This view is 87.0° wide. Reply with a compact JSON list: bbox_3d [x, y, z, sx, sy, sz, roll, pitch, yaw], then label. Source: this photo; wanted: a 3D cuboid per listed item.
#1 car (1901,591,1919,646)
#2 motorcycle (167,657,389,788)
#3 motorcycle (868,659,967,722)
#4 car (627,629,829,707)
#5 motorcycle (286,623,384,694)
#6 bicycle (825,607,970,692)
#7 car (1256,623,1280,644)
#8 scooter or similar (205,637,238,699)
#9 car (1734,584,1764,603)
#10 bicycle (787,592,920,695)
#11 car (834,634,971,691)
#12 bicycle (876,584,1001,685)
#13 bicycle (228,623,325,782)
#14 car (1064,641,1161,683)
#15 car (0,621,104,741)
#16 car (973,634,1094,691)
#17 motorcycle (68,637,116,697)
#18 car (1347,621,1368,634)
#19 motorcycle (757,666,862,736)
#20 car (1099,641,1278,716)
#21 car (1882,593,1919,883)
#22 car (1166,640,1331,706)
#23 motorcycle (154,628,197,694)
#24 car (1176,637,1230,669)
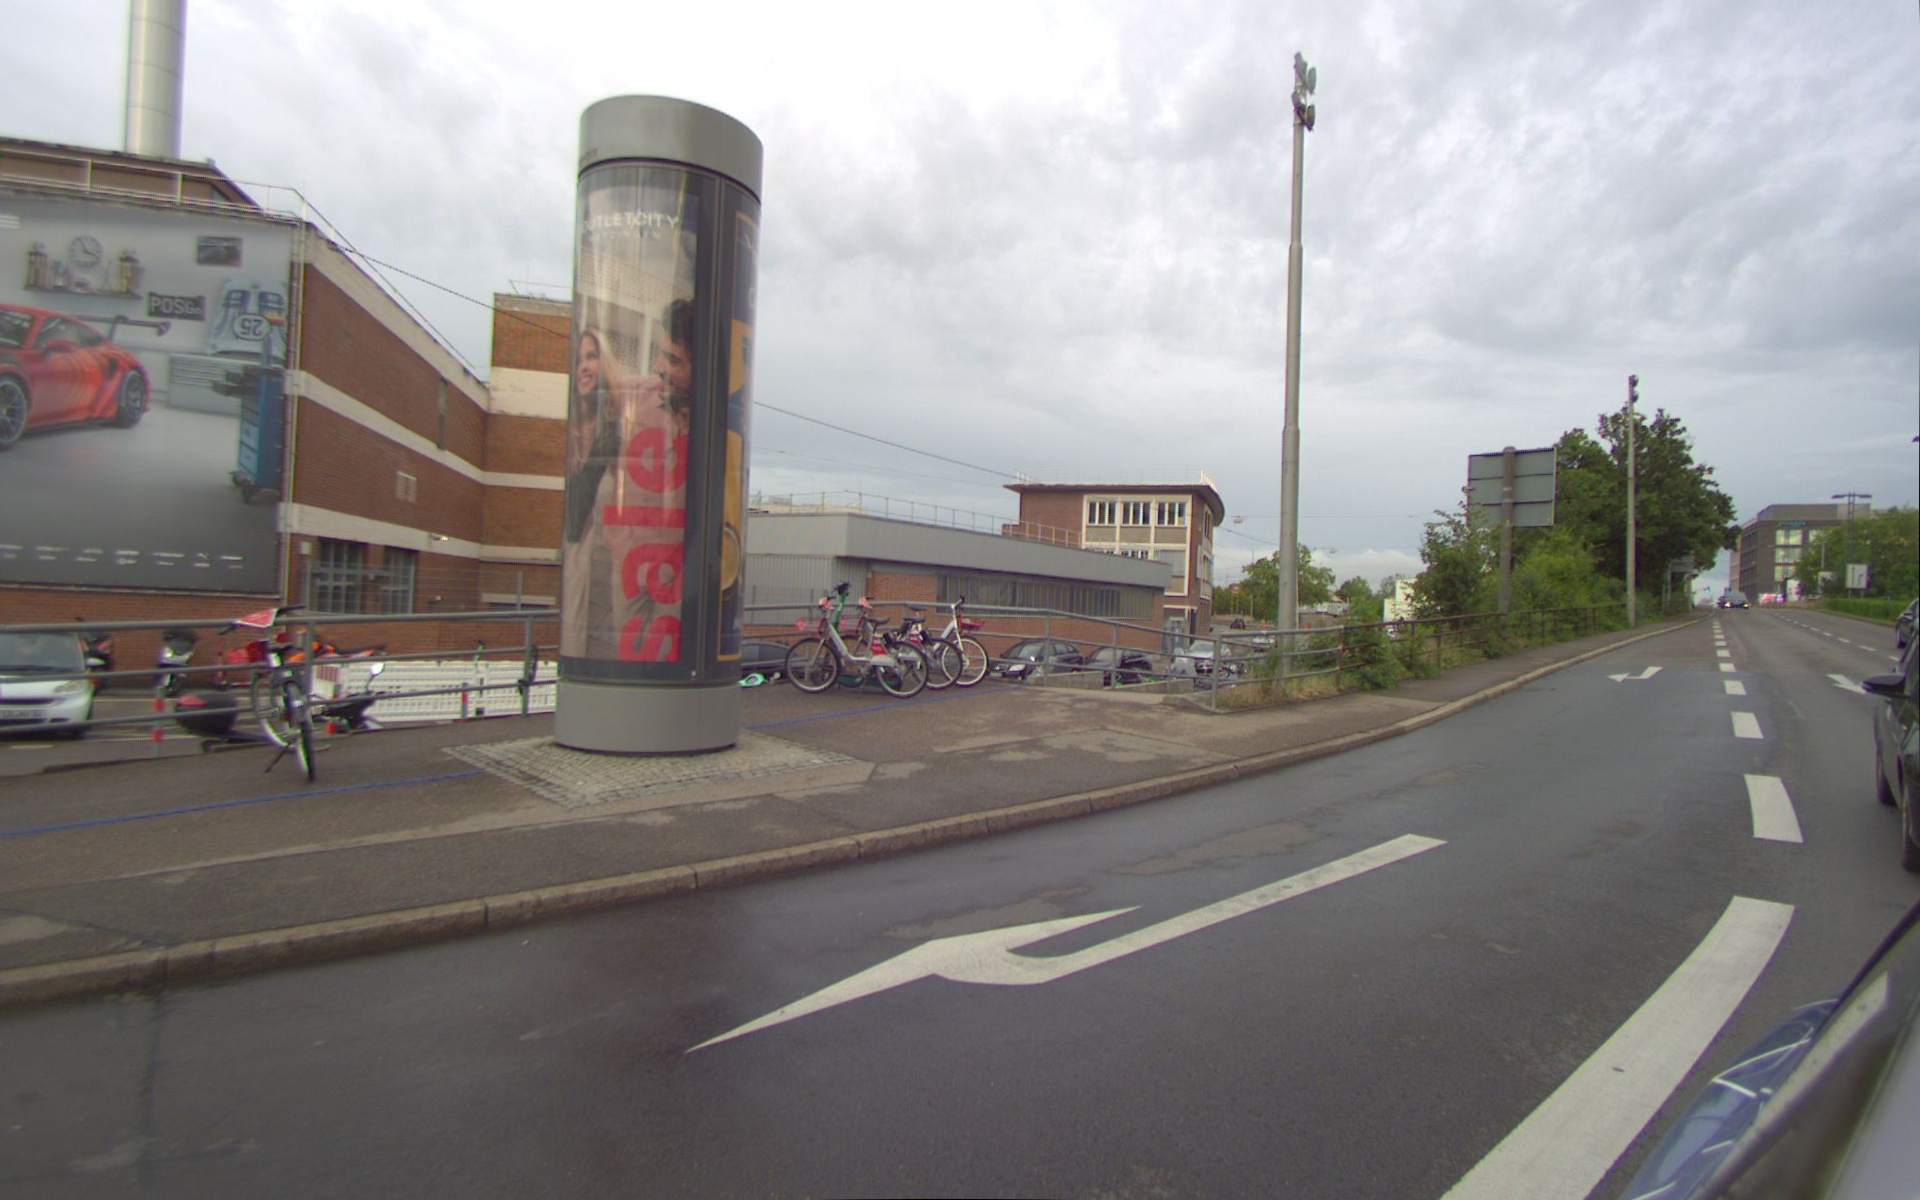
[{"bbox_3d":[26.791,0.488,27.122,1.807,1.457,4.246,0,0,36],"label":"car"},{"bbox_3d":[-5.725,0.993,8.581,0.400,0.901,1.521,1,1,36],"label":"motorcycle"},{"bbox_3d":[-0.699,1.461,16.496,1.599,0.933,0.418,0,0,25],"label":"motorcycle"},{"bbox_3d":[-5.358,1.506,23.860,1.880,1.570,4.445,1,-1,38],"label":"car"},{"bbox_3d":[-12.849,1.174,20.847,0.521,1.350,1.646,-1,0,38],"label":"motorcycle"},{"bbox_3d":[-0.733,0.577,12.117,1.673,0.933,0.486,1,1,4],"label":"bicycle"},{"bbox_3d":[23.340,2.519,76.614,1.698,1.444,3.976,1,0,18],"label":"car"},{"bbox_3d":[-14.635,1.323,20.076,0.495,1.110,1.639,-1,0,-35],"label":"scooter or similar"},{"bbox_3d":[65.518,-0.538,84.103,1.738,1.493,4.018,0,0,35],"label":"car"},{"bbox_3d":[-1.218,0.483,11.647,1.438,1.087,0.442,2,2,9],"label":"bicycle"},{"bbox_3d":[-1.586,1.733,29.002,1.712,1.444,3.943,1,-1,39],"label":"car"},{"bbox_3d":[-0.278,0.417,12.837,1.527,1.169,0.448,3,3,22],"label":"bicycle"},{"bbox_3d":[-4.829,0.664,7.116,0.414,0.933,1.615,1,0,-39],"label":"bicycle"},{"bbox_3d":[5.934,2.345,39.002,1.713,1.422,4.211,1,-1,41],"label":"car"},{"bbox_3d":[-13.943,1.115,15.174,1.541,1.508,3.992,2,-1,-42],"label":"car"},{"bbox_3d":[2.549,2.048,34.280,1.777,1.688,4.438,1,-1,41],"label":"car"},{"bbox_3d":[-16.172,1.225,18.876,0.531,0.985,1.616,-1,0,-35],"label":"motorcycle"},{"bbox_3d":[44.501,3.061,113.375,1.695,1.444,3.982,1,0,14],"label":"car"},{"bbox_3d":[-2.255,1.494,15.115,1.600,0.933,0.417,0,0,27],"label":"motorcycle"},{"bbox_3d":[5.315,1.787,23.981,1.688,1.444,3.999,2,-1,-36],"label":"car"},{"bbox_3d":[6.779,0.733,6.065,1.687,1.526,3.953,0,1,40],"label":"car"},{"bbox_3d":[7.533,1.857,26.736,1.688,1.444,3.999,2,-1,-36],"label":"car"},{"bbox_3d":[-15.225,1.149,19.671,0.574,1.166,1.720,-1,0,-35],"label":"motorcycle"},{"bbox_3d":[12.190,2.609,50.650,1.717,1.406,3.960,1,-1,28],"label":"car"}]
